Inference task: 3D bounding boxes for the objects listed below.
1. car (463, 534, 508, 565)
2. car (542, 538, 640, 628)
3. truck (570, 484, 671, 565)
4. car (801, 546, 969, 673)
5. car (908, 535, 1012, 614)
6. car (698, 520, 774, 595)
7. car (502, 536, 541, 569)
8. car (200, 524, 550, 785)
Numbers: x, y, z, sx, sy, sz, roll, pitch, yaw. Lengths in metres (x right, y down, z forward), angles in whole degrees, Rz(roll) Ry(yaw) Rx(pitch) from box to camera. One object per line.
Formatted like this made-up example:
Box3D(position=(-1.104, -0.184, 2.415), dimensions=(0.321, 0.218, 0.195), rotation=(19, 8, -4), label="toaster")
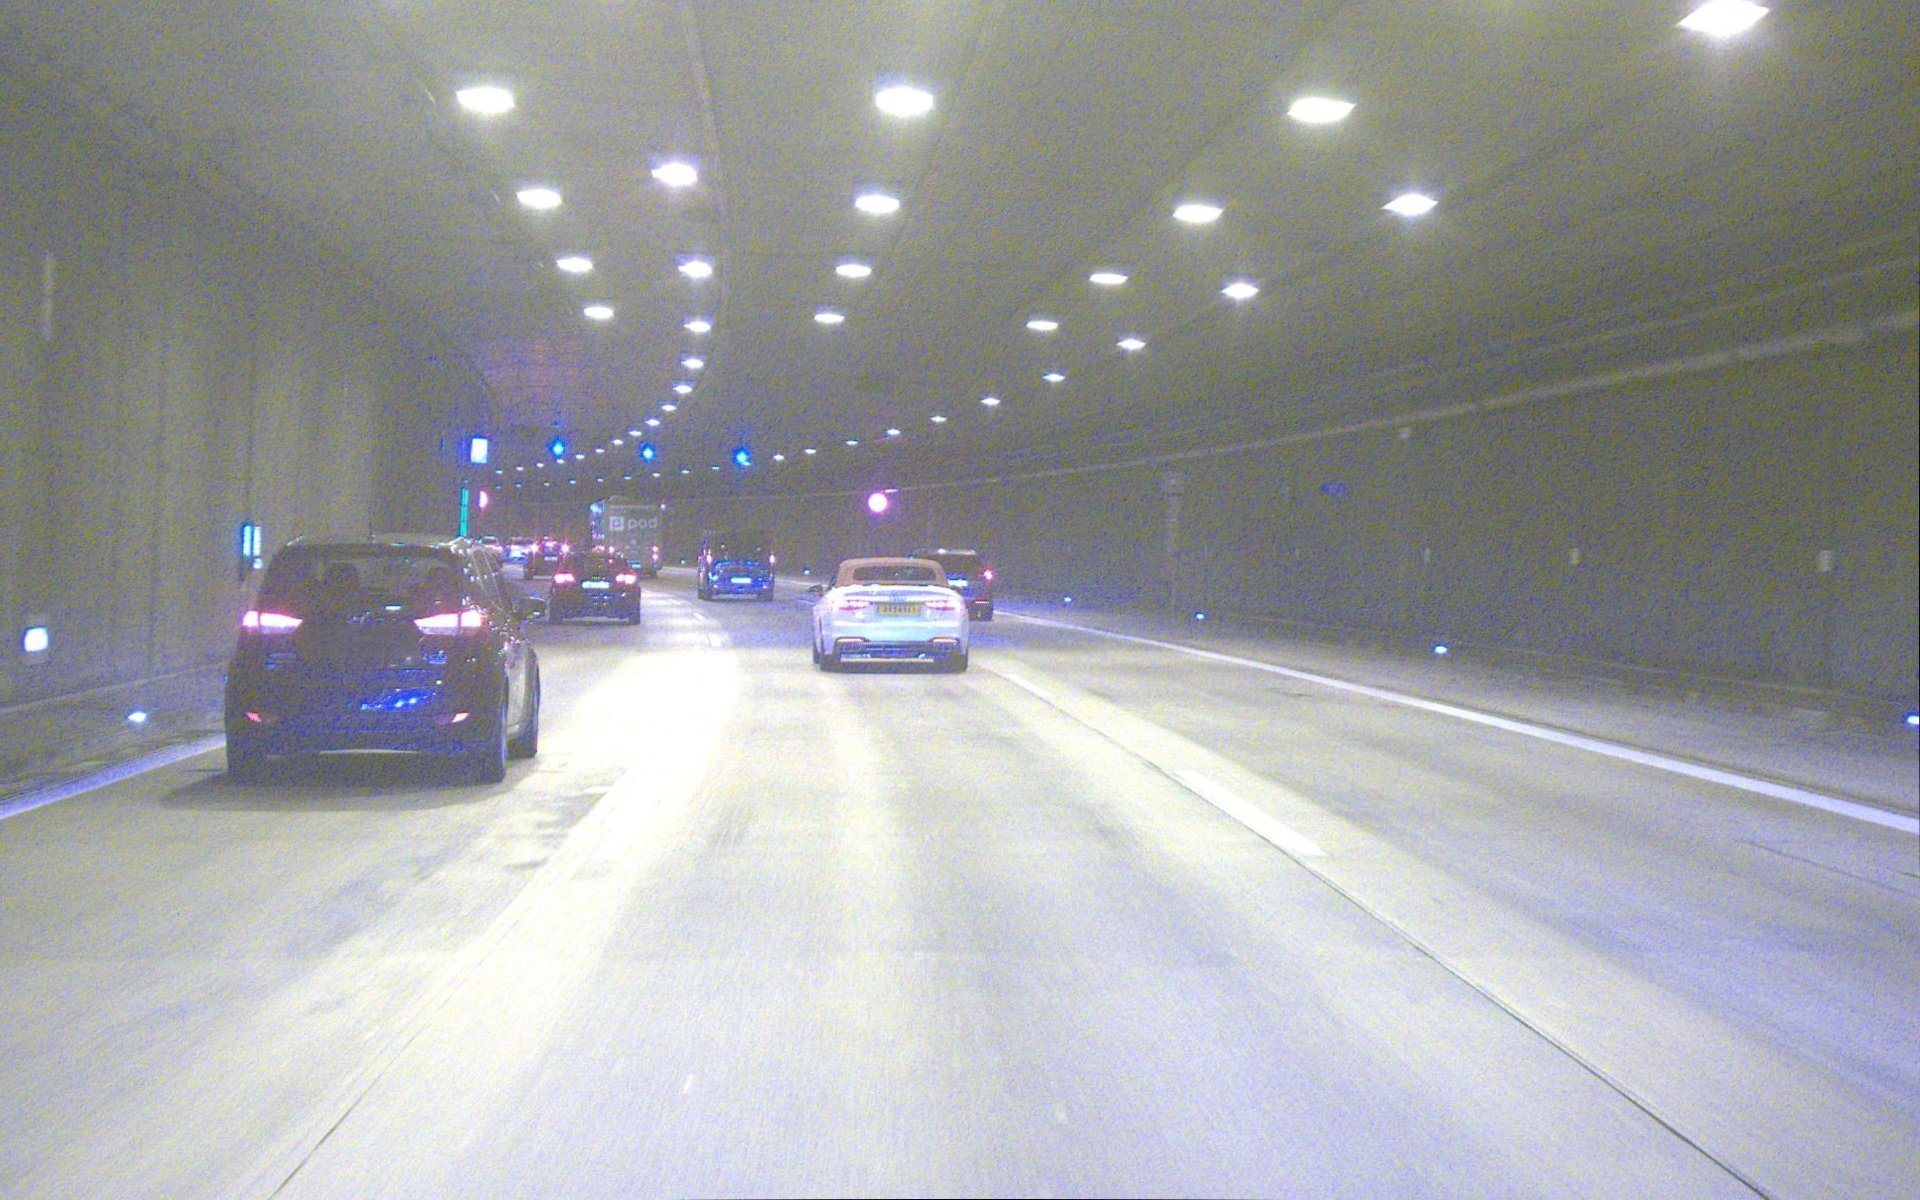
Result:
Box3D(position=(-23.942, -2.539, 173.382), dimensions=(1.993, 1.525, 4.001), rotation=(1, 0, -10), label="car")
Box3D(position=(-7.132, -0.351, 66.525), dimensions=(1.800, 1.678, 4.001), rotation=(1, 1, -6), label="car")
Box3D(position=(-13.955, -3.135, 140.678), dimensions=(3.082, 3.102, 10.033), rotation=(2, 2, -11), label="truck")
Box3D(position=(-0.901, 0.086, 43.026), dimensions=(1.993, 1.478, 4.000), rotation=(1, 1, 0), label="car")
Box3D(position=(-0.029, -0.559, 72.730), dimensions=(1.839, 1.597, 4.001), rotation=(1, 1, -5), label="car")
Box3D(position=(-6.045, -1.154, 92.537), dimensions=(1.993, 1.965, 4.001), rotation=(0, 1, -4), label="car")
Box3D(position=(-24.401, -2.641, 191.241), dimensions=(1.993, 1.748, 4.001), rotation=(1, 0, -9), label="car")
Box3D(position=(-3.818, 0.308, 23.016), dimensions=(1.785, 1.593, 3.802), rotation=(0, 1, -2), label="car")
